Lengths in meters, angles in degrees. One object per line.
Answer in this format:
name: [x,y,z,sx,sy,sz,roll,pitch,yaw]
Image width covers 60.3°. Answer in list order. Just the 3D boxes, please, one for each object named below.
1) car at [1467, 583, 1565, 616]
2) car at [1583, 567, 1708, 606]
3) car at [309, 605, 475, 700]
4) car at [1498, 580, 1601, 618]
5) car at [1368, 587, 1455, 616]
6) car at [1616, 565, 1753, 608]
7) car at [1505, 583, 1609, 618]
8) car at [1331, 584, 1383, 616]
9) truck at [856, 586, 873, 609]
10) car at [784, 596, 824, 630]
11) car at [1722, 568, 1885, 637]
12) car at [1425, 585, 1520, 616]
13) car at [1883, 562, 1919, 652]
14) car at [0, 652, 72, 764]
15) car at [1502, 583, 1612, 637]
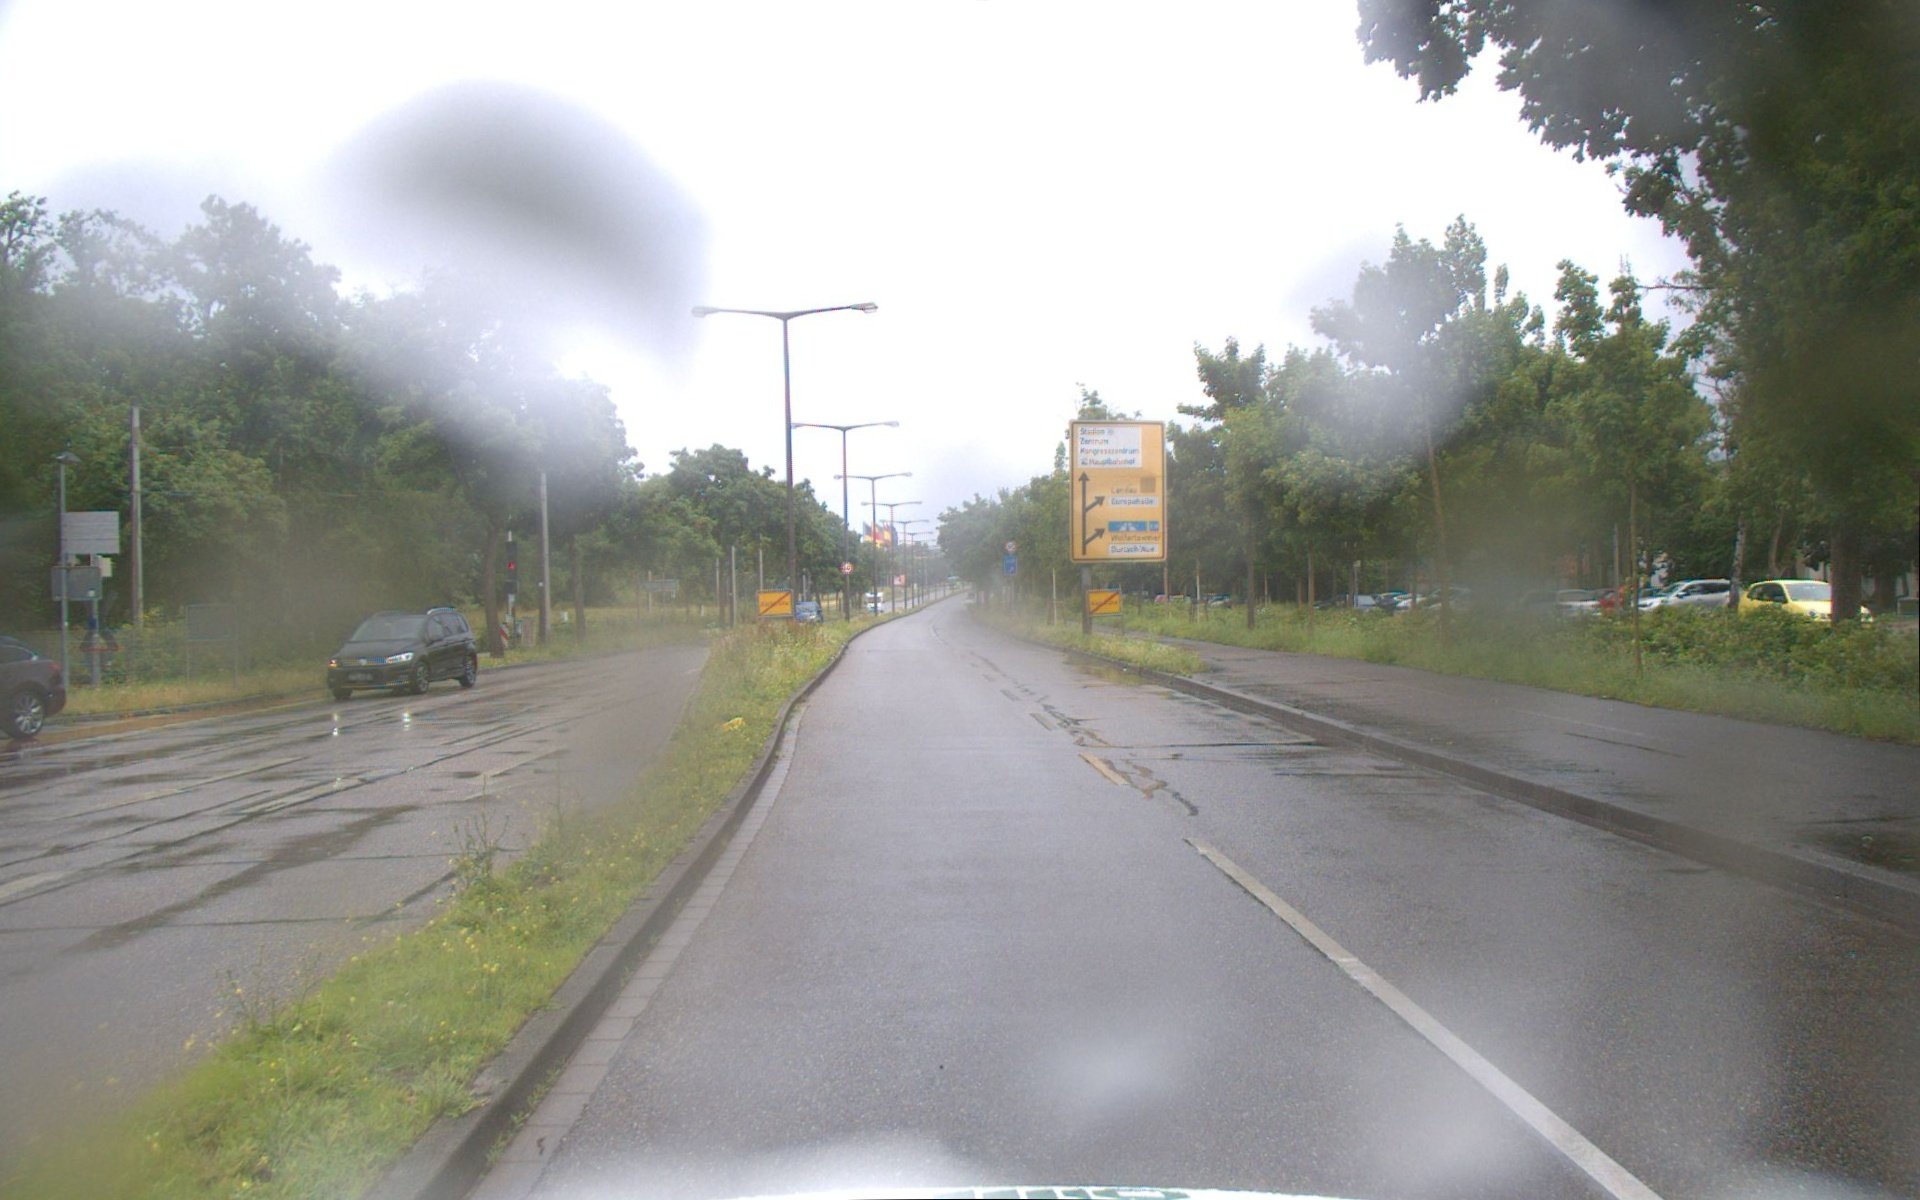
car: [27.838,-0.019,82.931,4.249,1.585,1.944,1,-1,-4]
car: [27.493,-0.523,66.393,4.249,1.510,1.944,1,-1,-4]
car: [-11.396,1.002,33.498,1.671,1.670,4.332,-3,0,2]
car: [28.292,-0.045,79.464,4.249,1.755,1.944,1,-1,-4]
car: [26.420,0.090,96.891,4.481,1.674,1.997,1,-1,-6]
car: [26.777,-0.485,61.222,4.249,1.530,1.922,1,-1,-4]
car: [27.258,0.035,75.601,4.106,1.510,1.759,1,-1,-4]
car: [19.921,-0.020,83.165,1.708,1.470,4.123,-2,2,2]
truck: [-12.930,-0.293,223.906,2.095,2.893,5.071,-3,-1,-2]
car: [-8.322,0.662,88.445,1.708,1.679,4.135,-4,0,-1]
car: [19.680,0.069,38.778,1.604,1.512,4.071,1,-1,-2]
car: [27.377,0.025,88.457,4.474,1.585,1.946,0,-1,3]
car: [19.700,0.092,31.068,1.954,1.747,4.639,-2,0,-2]
car: [-14.543,1.582,22.530,1.832,1.511,4.511,-2,0,11]
car: [19.844,0.324,55.194,1.953,1.654,4.641,-2,0,0]
